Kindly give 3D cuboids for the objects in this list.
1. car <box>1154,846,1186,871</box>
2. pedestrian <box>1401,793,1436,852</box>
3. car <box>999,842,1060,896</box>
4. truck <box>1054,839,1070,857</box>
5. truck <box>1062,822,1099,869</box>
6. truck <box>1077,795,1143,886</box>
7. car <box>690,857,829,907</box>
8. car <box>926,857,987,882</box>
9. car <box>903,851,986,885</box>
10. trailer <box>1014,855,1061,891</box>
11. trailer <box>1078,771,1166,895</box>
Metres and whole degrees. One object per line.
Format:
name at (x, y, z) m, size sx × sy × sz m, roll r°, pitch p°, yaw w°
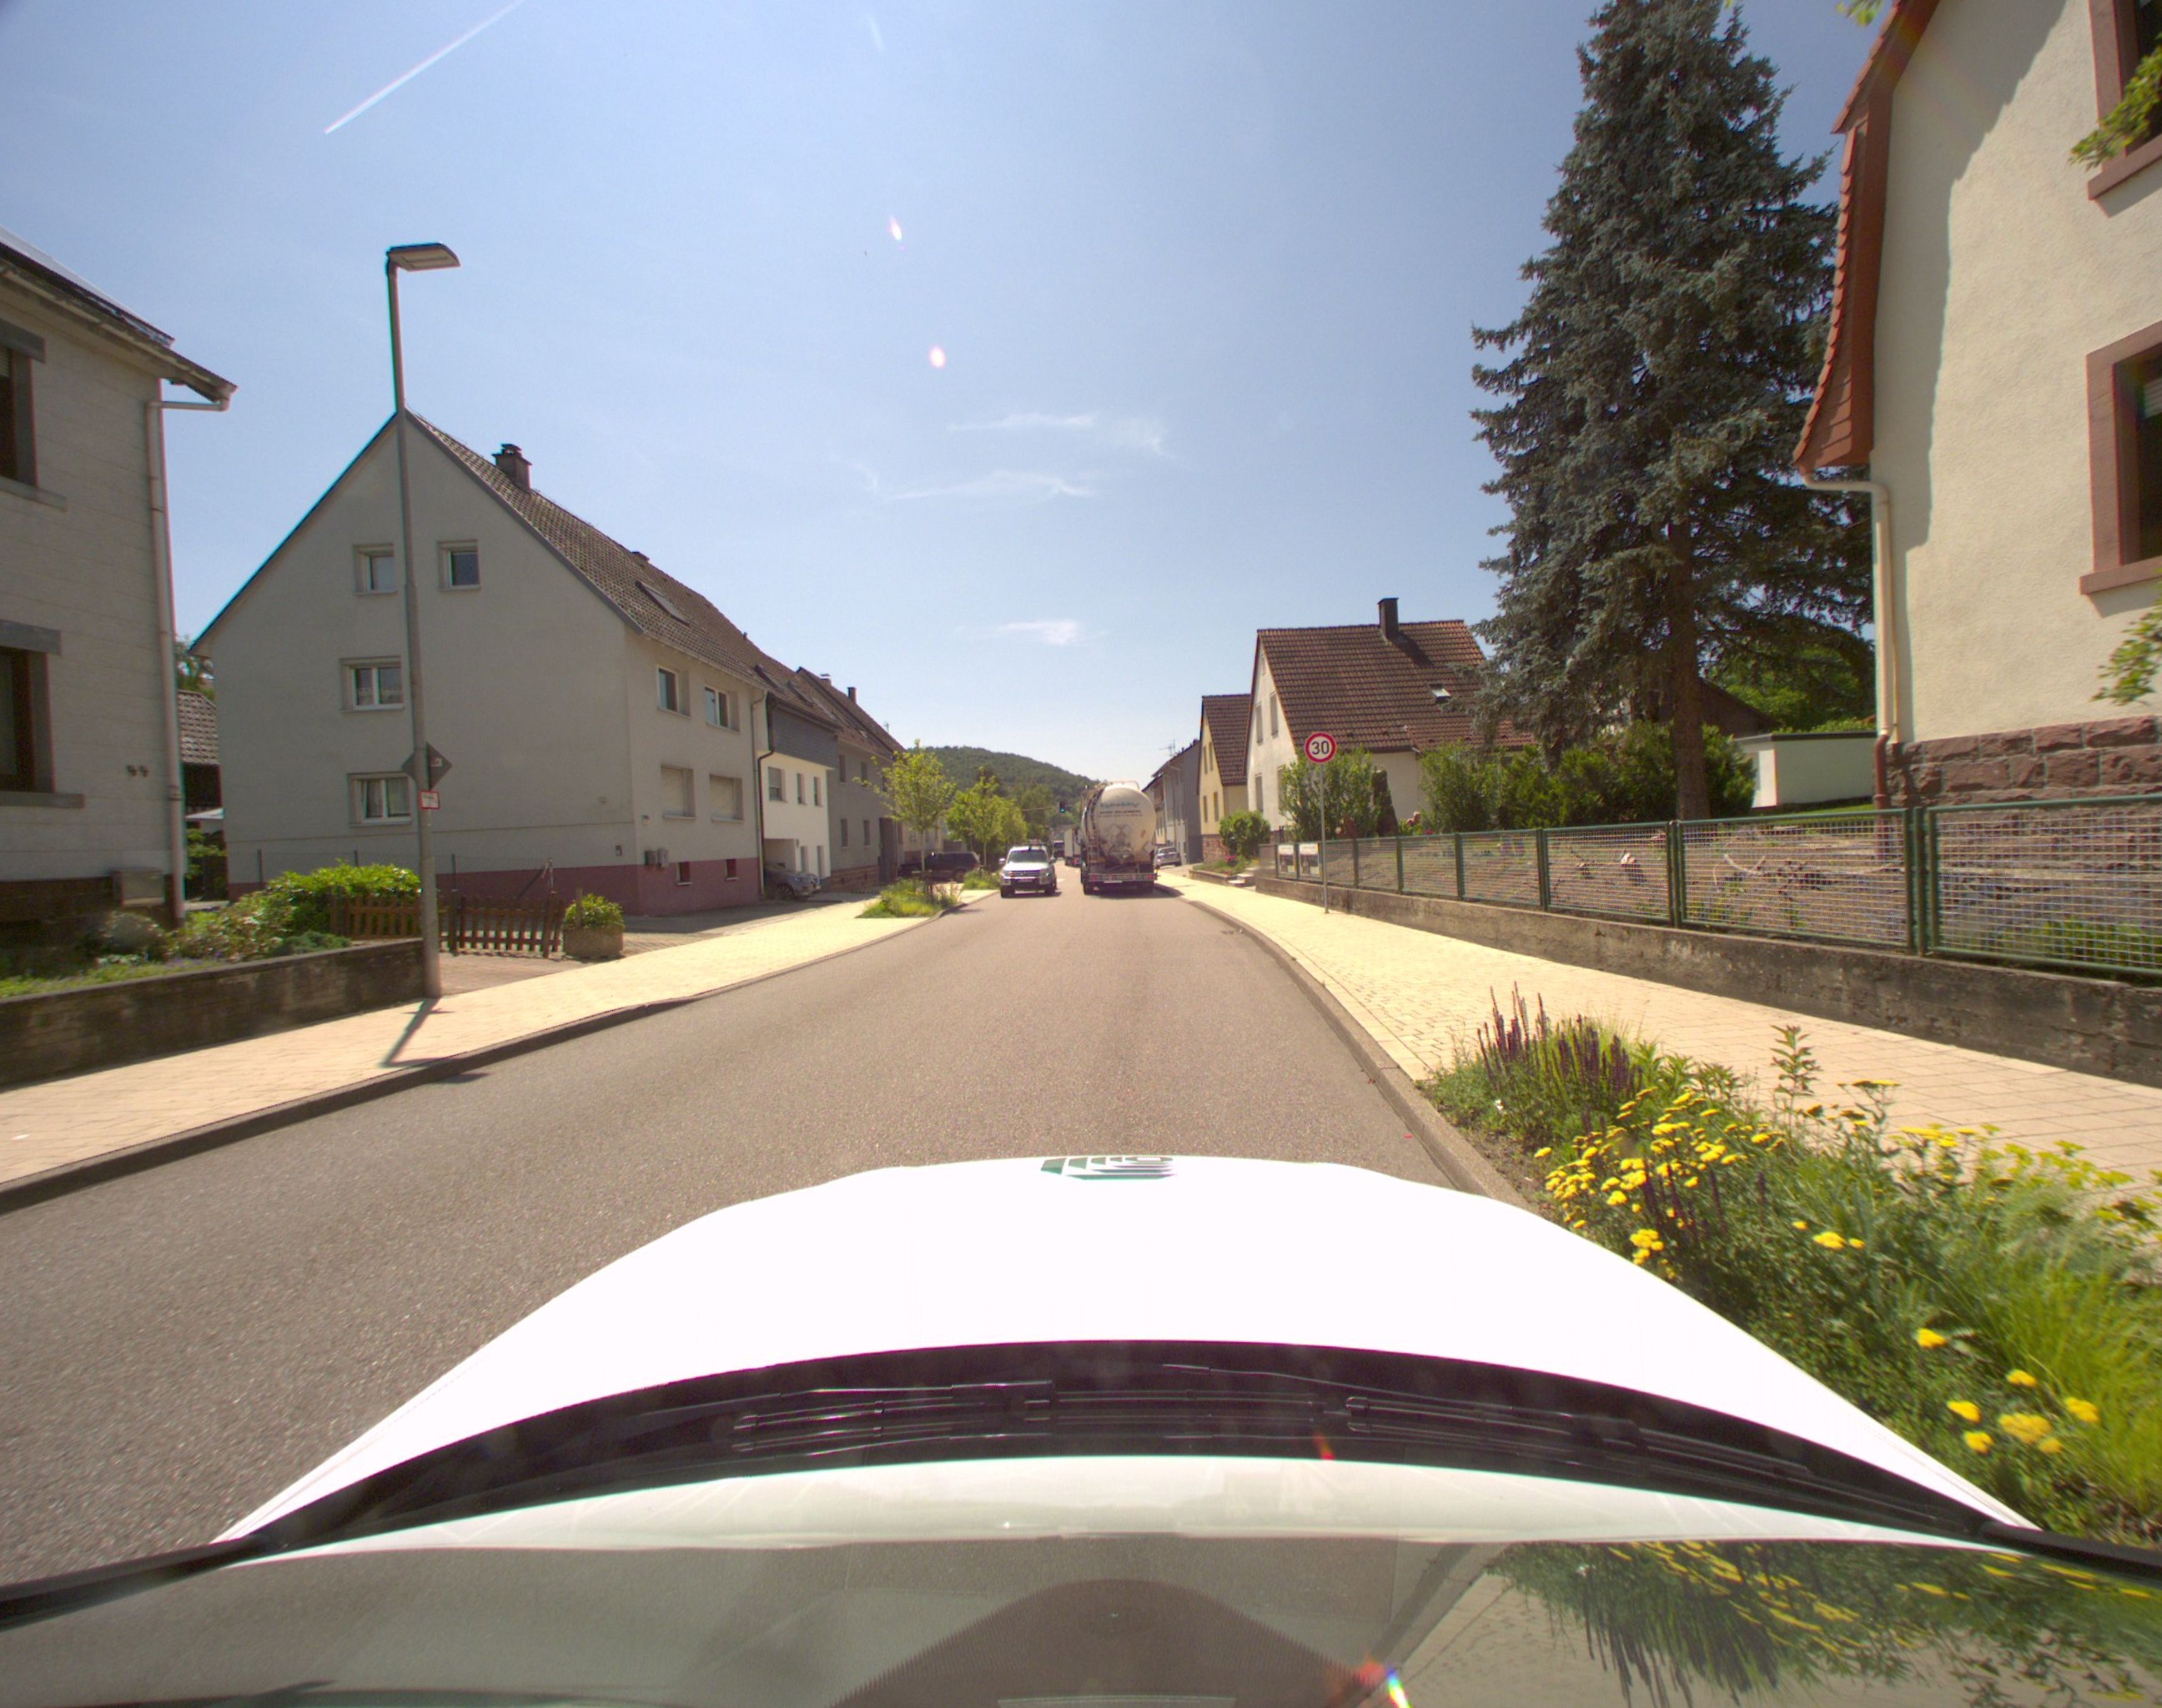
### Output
car at (6.196, 0.287, 57.313) m, size 1.784 × 1.541 × 4.521 m, roll -5°, pitch 0°, yaw 2°
pedestrian at (9.625, -0.894, 23.245) m, size 0.602 × 1.615 × 0.552 m, roll -7°, pitch 0°, yaw 0°
car at (-1.874, 0.524, 30.784) m, size 1.883 × 1.861 × 4.578 m, roll -1°, pitch 0°, yaw 1°
truck at (-3.516, -1.102, 154.022) m, size 2.720 × 3.371 × 8.632 m, roll -1°, pitch 0°, yaw 0°
truck at (-0.147, -0.785, 87.659) m, size 2.843 × 4.679 × 11.315 m, roll 0°, pitch -1°, yaw -6°
truck at (1.255, -0.580, 38.497) m, size 2.800 × 3.937 × 6.097 m, roll -1°, pitch 0°, yaw -1°
car at (-10.945, 0.941, 27.949) m, size 3.974 × 1.545 × 1.832 m, roll -1°, pitch 0°, yaw 0°
car at (-7.817, 0.982, 50.944) m, size 3.505 × 1.439 × 1.710 m, roll -2°, pitch 0°, yaw 34°
car at (-7.803, 0.803, 46.787) m, size 4.382 × 1.750 × 1.877 m, roll -2°, pitch 0°, yaw -1°
trailer at (-1.819, 0.755, 35.199) m, size 1.569 × 1.396 × 4.404 m, roll -2°, pitch 0°, yaw 2°
trailer at (1.316, -0.686, 31.943) m, size 2.787 × 4.001 × 10.321 m, roll -1°, pitch 0°, yaw 0°
